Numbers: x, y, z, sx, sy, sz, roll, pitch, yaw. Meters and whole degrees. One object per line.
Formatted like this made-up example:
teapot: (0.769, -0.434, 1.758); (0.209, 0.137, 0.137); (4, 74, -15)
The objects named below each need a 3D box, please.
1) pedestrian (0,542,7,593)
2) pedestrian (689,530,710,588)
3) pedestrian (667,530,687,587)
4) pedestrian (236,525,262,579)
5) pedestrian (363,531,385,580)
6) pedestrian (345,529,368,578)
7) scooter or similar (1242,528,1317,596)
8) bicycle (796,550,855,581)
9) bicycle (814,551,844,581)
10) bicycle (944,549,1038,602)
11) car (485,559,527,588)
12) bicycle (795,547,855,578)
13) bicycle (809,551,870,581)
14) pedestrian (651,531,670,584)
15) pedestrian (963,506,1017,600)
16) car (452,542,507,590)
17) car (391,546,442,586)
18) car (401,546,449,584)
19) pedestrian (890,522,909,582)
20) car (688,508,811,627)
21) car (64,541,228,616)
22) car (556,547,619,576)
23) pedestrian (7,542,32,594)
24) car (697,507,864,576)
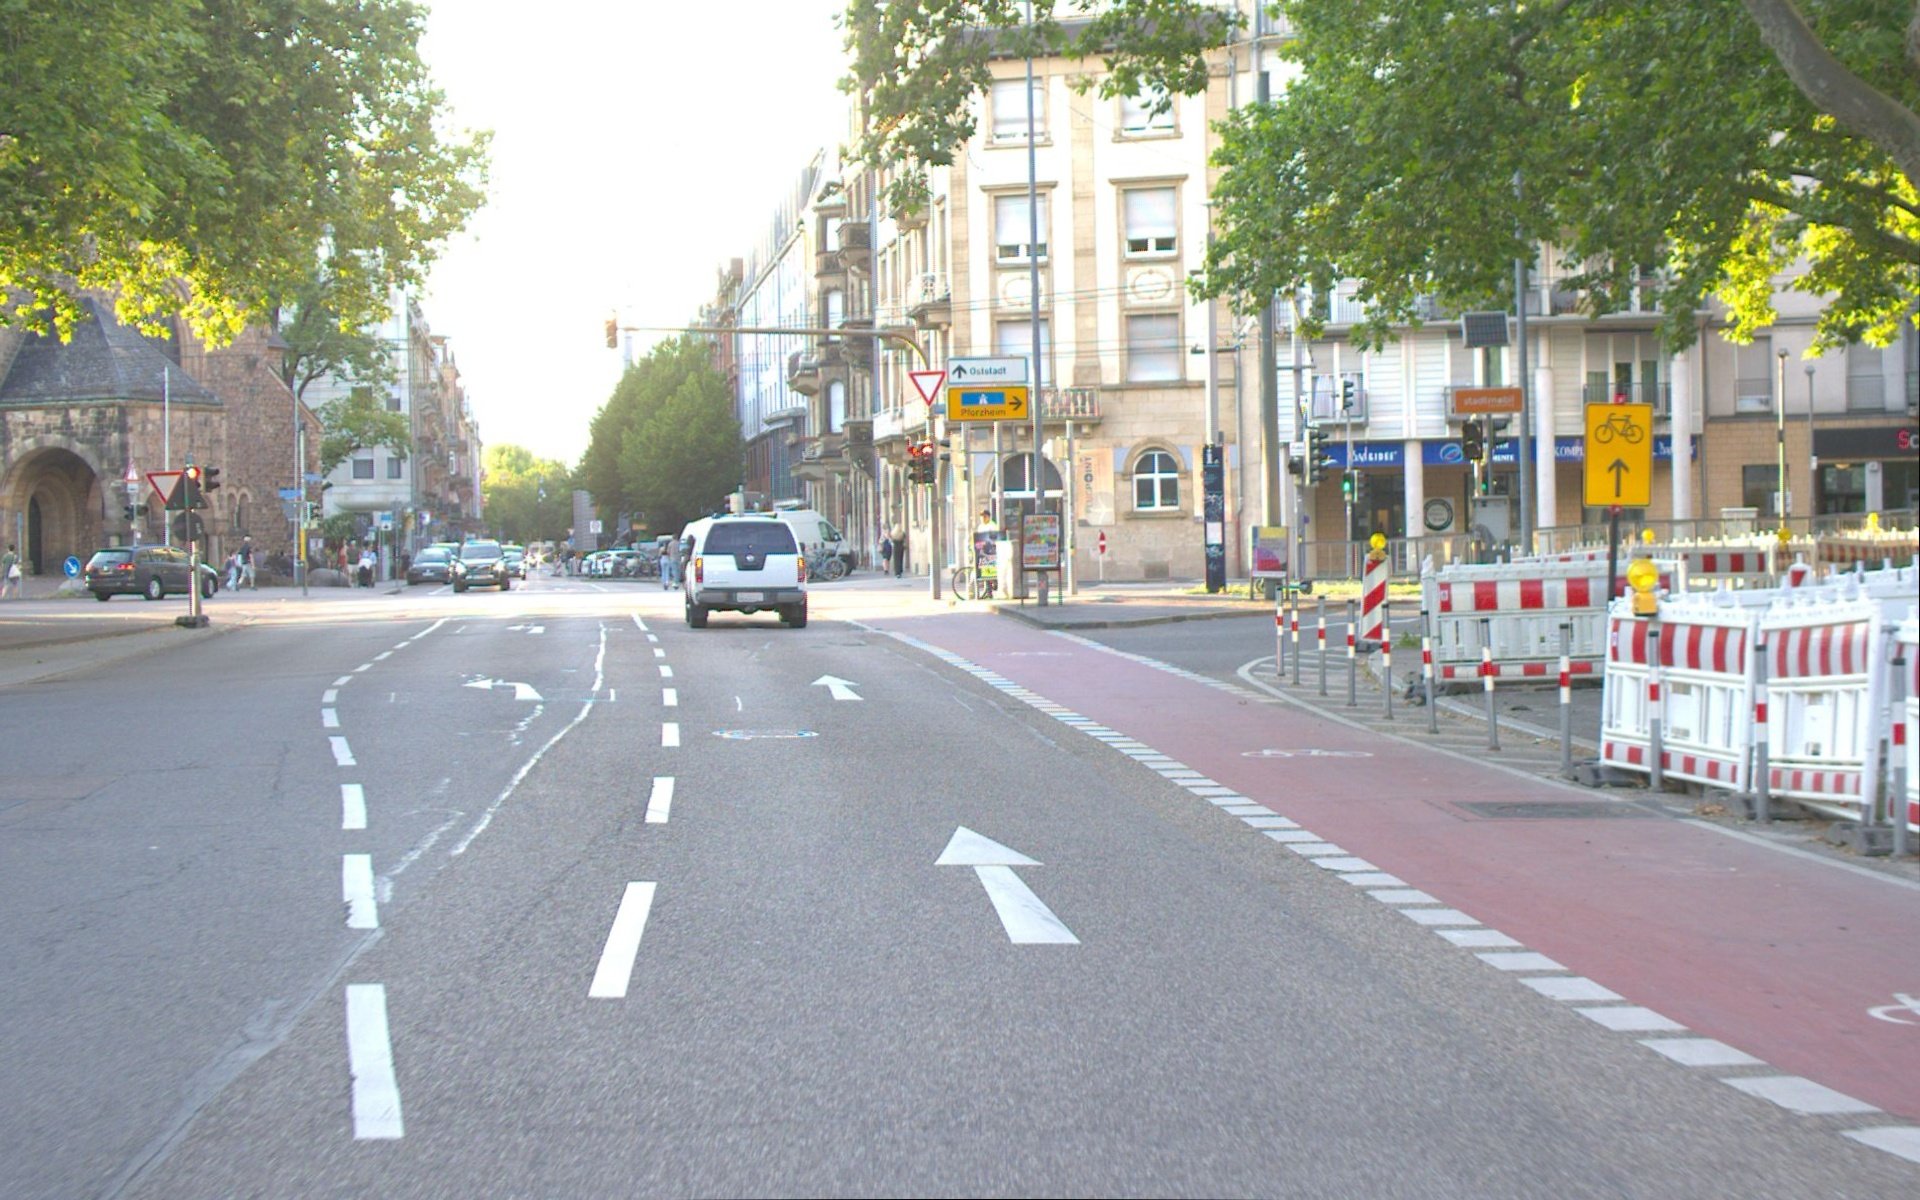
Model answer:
pedestrian: (-29.933, -0.998, 106.615); (0.556, 1.578, 0.548); (-1, 1, 5)
pedestrian: (-8.472, -1.345, 111.740); (0.593, 1.880, 0.647); (-1, 1, -1)
pedestrian: (-9.477, -1.400, 115.206); (0.593, 1.880, 0.647); (-1, 1, -1)
pedestrian: (-24.936, -1.679, 120.534); (0.655, 1.880, 0.585); (0, 1, 22)
pedestrian: (-22.734, -1.741, 133.445); (0.594, 1.880, 0.553); (0, 1, 23)
pedestrian: (-23.443, -1.803, 133.569); (0.594, 1.880, 0.584); (0, 1, 23)
scooter or similar: (6.015, -0.715, 64.735); (0.544, 1.246, 1.389); (-2, 1, -42)
bicycle: (-4.379, -1.116, 111.874); (1.914, 0.965, 0.546); (-1, 1, -4)
bicycle: (-4.334, -1.145, 114.024); (0.544, 0.965, 1.920); (-1, 1, 11)
bicycle: (0.589, -0.467, 64.896); (1.691, 0.965, 0.546); (-1, 1, -9)
car: (-24.360, -1.442, 184.459); (1.993, 1.501, 3.822); (0, 1, -11)
bicycle: (-4.394, -1.227, 111.591); (1.914, 0.965, 0.546); (-1, 1, -4)
bicycle: (-3.949, -1.121, 112.680); (1.916, 0.965, 0.545); (-1, 1, 12)
pedestrian: (-10.832, -1.537, 124.468); (0.593, 1.880, 0.647); (-1, 1, -1)
pedestrian: (0.570, -0.898, 65.388); (0.794, 1.762, 0.721); (-1, 1, -20)
car: (-17.079, -1.208, 122.096); (1.781, 1.645, 3.822); (0, 1, -11)
car: (-22.741, -1.443, 143.687); (1.993, 1.645, 3.822); (0, 1, -11)
car: (-23.573, -1.551, 151.409); (1.993, 1.645, 3.822); (0, 1, -11)
pedestrian: (-1.926, -1.523, 109.392); (0.593, 1.880, 0.647); (-1, 1, -1)
car: (-3.434, -0.541, 55.776); (1.866, 1.808, 4.001); (-2, 1, -4)
car: (-21.796, -0.595, 92.236); (2.080, 1.835, 4.627); (0, 2, 19)
car: (-24.320, -2.505, 224.603); (3.986, 1.809, 2.001); (-1, 1, -8)
pedestrian: (-29.197, -0.992, 106.736); (0.556, 1.578, 0.548); (-1, 1, 5)
car: (-6.135, -2.023, 118.032); (2.071, 2.280, 5.808); (0, 2, 45)
